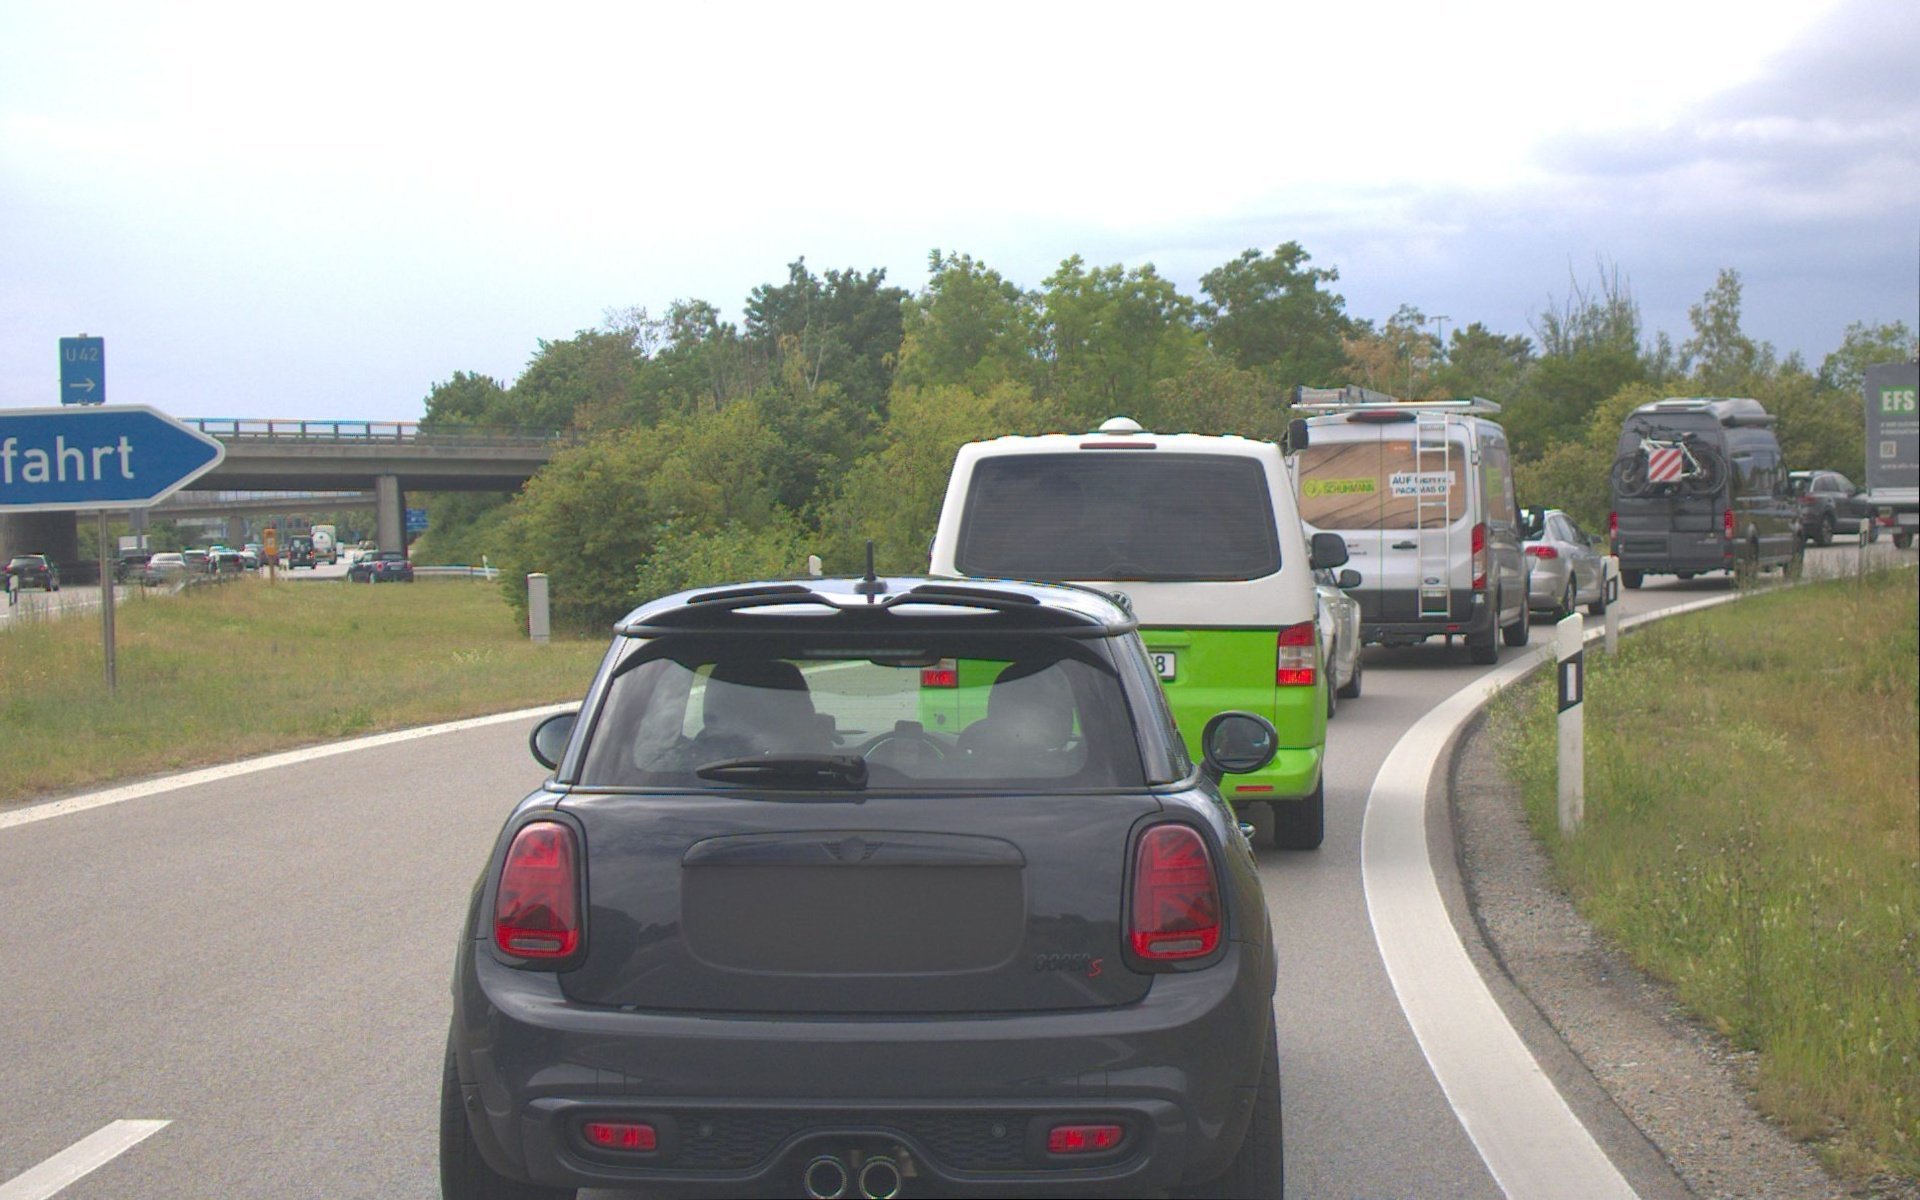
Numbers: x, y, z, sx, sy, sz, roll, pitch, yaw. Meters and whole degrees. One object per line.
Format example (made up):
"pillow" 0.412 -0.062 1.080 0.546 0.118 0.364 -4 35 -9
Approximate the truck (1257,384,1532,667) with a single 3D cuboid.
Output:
"truck" 4.516 -0.785 35.020 2.180 2.649 5.106 0 2 14

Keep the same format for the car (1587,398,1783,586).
"car" 11.271 -1.658 53.286 2.108 2.786 3.995 1 2 25

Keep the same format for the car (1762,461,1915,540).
"car" 18.244 -2.039 71.291 1.799 1.550 3.953 0 0 35

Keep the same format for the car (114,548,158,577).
"car" -40.347 -1.845 168.409 1.779 1.394 4.307 -1 1 -10

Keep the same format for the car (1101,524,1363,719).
"car" 2.171 0.122 26.642 1.763 1.394 3.724 -1 1 8

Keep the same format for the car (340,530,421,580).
"car" -23.832 -1.838 141.269 1.993 2.007 4.000 0 0 -30

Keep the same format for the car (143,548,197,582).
"car" -33.257 -1.489 144.883 1.779 1.394 4.552 -1 1 -8

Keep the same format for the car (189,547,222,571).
"car" -45.888 -2.500 209.047 1.779 1.394 4.307 -1 1 -10

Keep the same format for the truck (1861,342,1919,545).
"truck" 20.257 -3.046 69.161 2.233 3.893 6.004 1 0 34

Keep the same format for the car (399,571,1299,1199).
"car" -0.231 0.652 8.472 1.727 1.409 3.725 0 1 0

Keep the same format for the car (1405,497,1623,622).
"car" 7.084 -0.531 43.668 1.868 1.504 3.996 0 1 22

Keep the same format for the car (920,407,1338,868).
"car" 0.951 0.120 17.045 1.784 2.007 3.999 0 1 7

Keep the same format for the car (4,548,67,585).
"car" -35.704 -1.302 132.813 1.779 1.394 4.307 -1 1 -8

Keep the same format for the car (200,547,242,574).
"car" -39.395 -2.123 183.368 1.779 1.394 4.030 -1 1 -7
